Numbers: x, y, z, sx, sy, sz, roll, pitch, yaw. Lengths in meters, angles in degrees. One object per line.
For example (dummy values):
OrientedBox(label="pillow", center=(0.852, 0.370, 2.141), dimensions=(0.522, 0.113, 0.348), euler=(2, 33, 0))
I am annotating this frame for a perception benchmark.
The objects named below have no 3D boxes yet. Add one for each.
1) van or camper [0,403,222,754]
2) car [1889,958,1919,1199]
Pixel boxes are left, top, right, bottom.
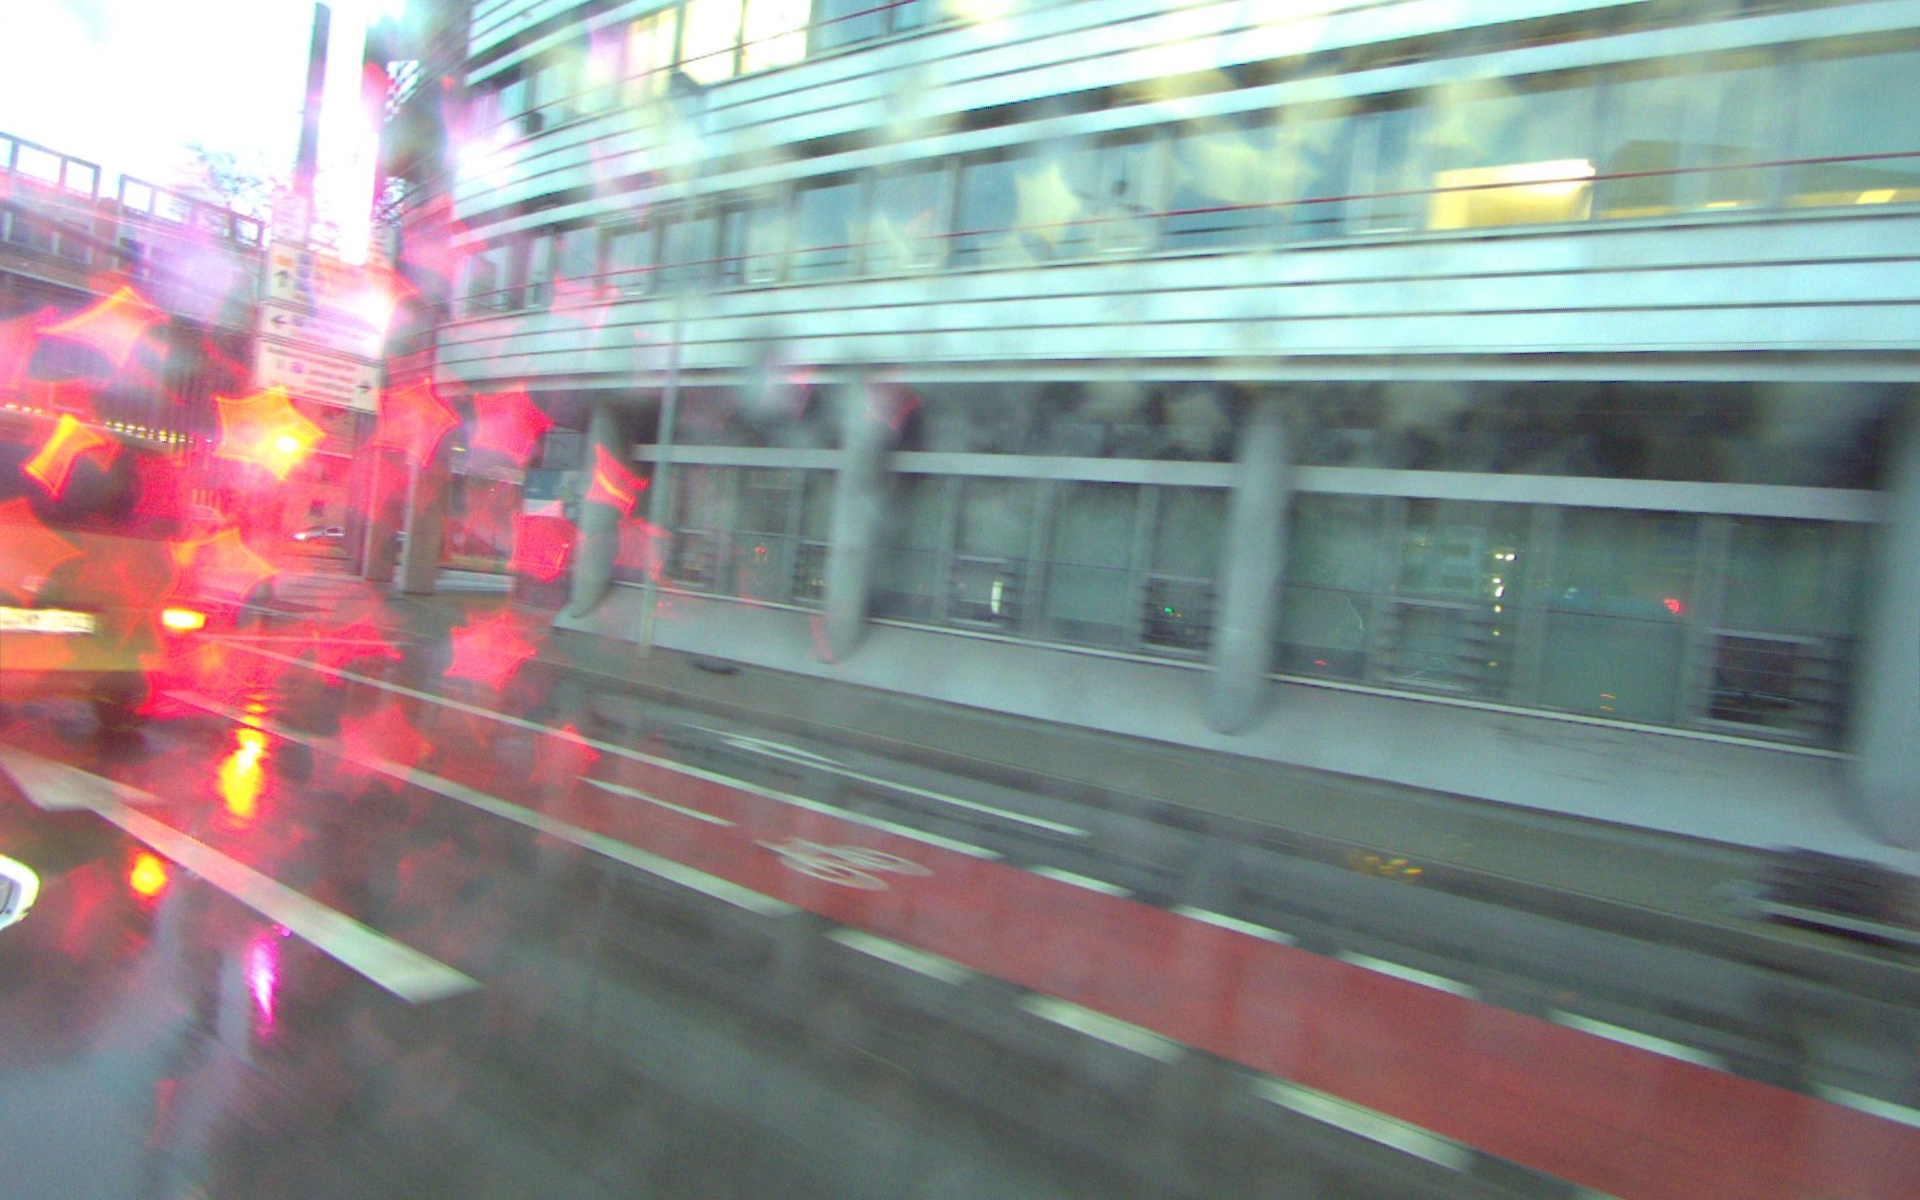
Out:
OrientedBox(label="van or camper", center=(-7.092, -0.323, 6.730), dimensions=(4.344, 1.929, 1.760), euler=(7, -1, 31))
OrientedBox(label="car", center=(3.554, 1.078, 0.209), dimensions=(4.595, 1.832, 1.886), euler=(7, -1, 33))
